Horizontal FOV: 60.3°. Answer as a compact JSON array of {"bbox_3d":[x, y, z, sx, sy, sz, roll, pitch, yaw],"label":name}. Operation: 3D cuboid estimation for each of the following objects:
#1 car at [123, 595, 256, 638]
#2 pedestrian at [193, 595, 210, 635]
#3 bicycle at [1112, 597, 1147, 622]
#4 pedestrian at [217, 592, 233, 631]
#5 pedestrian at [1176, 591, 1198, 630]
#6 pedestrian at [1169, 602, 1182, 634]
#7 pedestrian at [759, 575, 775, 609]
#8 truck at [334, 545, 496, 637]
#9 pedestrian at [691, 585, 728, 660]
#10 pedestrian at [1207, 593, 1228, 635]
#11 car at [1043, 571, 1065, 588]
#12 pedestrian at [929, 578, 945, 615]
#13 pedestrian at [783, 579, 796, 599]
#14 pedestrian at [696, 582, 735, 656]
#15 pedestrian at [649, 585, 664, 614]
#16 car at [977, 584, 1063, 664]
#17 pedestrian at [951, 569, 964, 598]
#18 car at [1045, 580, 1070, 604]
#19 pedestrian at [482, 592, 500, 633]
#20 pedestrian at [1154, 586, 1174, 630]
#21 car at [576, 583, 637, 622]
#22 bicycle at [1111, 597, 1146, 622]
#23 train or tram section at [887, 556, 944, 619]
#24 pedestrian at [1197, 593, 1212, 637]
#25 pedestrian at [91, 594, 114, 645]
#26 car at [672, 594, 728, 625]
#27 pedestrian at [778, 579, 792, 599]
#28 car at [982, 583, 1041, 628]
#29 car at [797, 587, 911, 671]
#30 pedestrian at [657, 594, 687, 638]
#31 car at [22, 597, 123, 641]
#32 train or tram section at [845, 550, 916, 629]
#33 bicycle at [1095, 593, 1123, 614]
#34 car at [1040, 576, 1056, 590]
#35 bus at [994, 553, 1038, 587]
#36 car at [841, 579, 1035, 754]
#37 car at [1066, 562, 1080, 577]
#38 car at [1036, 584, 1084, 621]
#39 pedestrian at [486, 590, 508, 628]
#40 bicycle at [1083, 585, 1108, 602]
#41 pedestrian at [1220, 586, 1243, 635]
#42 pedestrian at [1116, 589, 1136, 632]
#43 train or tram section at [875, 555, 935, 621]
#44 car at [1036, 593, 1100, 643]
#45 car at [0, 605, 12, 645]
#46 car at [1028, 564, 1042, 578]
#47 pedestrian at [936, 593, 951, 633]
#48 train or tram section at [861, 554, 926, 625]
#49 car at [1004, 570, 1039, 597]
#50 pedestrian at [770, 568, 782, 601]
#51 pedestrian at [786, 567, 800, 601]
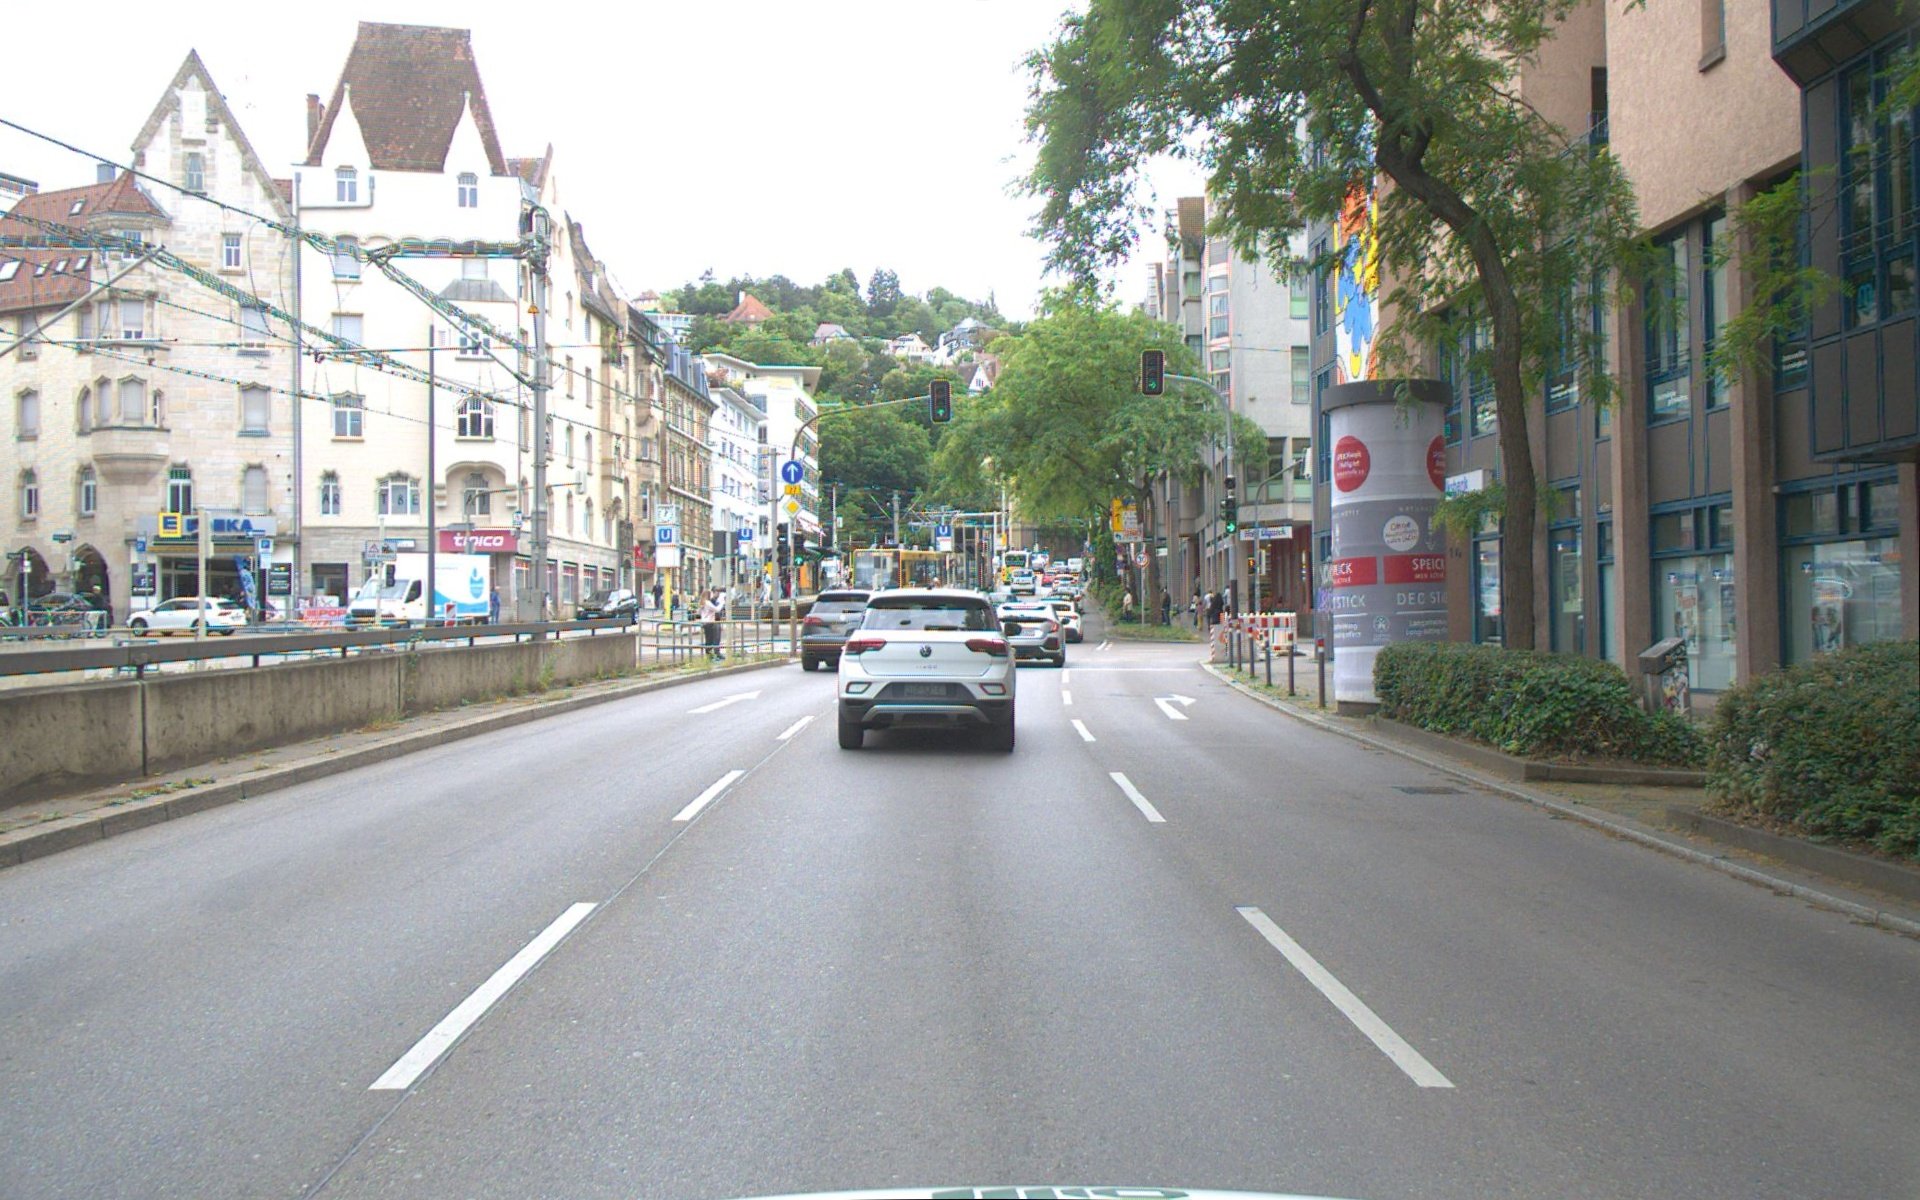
[{"bbox_3d":[-30.002,0.635,64.446,4.403,1.588,1.756,1,0,9],"label":"car"},{"bbox_3d":[-34.743,0.694,75.750,0.503,1.811,0.573,0,0,44],"label":"pedestrian"},{"bbox_3d":[8.544,0.469,83.607,1.674,1.204,0.448,-2,0,-4],"label":"bicycle"},{"bbox_3d":[-33.973,0.541,76.486,0.564,1.811,0.510,0,0,-10],"label":"pedestrian"},{"bbox_3d":[9.484,0.436,69.178,0.818,1.590,0.764,1,-1,-1],"label":"pedestrian"},{"bbox_3d":[9.204,0.751,70.763,0.461,1.357,0.519,1,-1,-1],"label":"pedestrian"},{"bbox_3d":[-9.851,-0.396,84.396,0.673,1.741,0.662,0,0,3],"label":"pedestrian"},{"bbox_3d":[-19.724,-0.272,60.378,2.218,3.130,7.380,1,0,11],"label":"truck"},{"bbox_3d":[-5.914,0.527,39.051,0.748,1.751,0.638,0,0,3],"label":"pedestrian"},{"bbox_3d":[10.484,0.569,67.290,0.746,1.640,0.619,-1,2,15],"label":"pedestrian"},{"bbox_3d":[10.050,-2.207,176.876,1.844,1.713,4.164,1,0,10],"label":"car"},{"bbox_3d":[-1.078,-0.162,76.959,0.671,1.741,0.712,0,0,3],"label":"pedestrian"},{"bbox_3d":[-9.561,-0.629,92.745,0.622,1.127,0.690,0,1,3],"label":"pedestrian"},{"bbox_3d":[-5.871,0.457,39.741,0.775,1.751,0.773,0,0,3],"label":"pedestrian"},{"bbox_3d":[-19.218,-0.034,104.884,0.623,1.793,0.835,0,0,-39],"label":"pedestrian"},{"bbox_3d":[1.410,0.539,38.184,1.845,1.713,4.162,1,0,3],"label":"car"},{"bbox_3d":[-0.146,-0.988,99.311,0.702,1.761,0.671,1,-1,5],"label":"pedestrian"},{"bbox_3d":[7.532,-0.601,127.465,1.845,1.713,4.163,1,0,4],"label":"car"},{"bbox_3d":[-20.467,0.537,72.214,0.499,1.811,0.577,0,0,18],"label":"pedestrian"},{"bbox_3d":[8.828,0.345,71.703,0.706,1.834,0.834,-2,2,-1],"label":"pedestrian"},{"bbox_3d":[-16.946,0.127,79.498,1.638,1.790,4.784,1,0,4],"label":"car"},{"bbox_3d":[8.573,0.465,84.081,1.674,1.204,0.448,-2,0,-4],"label":"bicycle"},{"bbox_3d":[-2.622,-0.755,99.127,2.775,3.582,5.755,1,1,4],"label":"train or tram section"},{"bbox_3d":[10.217,0.614,69.102,0.508,1.820,0.764,1,-1,0],"label":"pedestrian"},{"bbox_3d":[-31.005,0.703,59.803,0.499,1.811,0.577,0,0,16],"label":"pedestrian"},{"bbox_3d":[-13.557,0.481,86.502,1.621,1.579,4.539,0,0,9],"label":"car"},{"bbox_3d":[-9.685,-0.612,91.535,0.622,1.127,0.690,0,1,3],"label":"pedestrian"},{"bbox_3d":[2.468,0.258,78.428,2.314,2.049,5.152,1,0,7],"label":"car"},{"bbox_3d":[-2.164,0.592,34.918,1.952,1.664,4.001,0,0,3],"label":"car"},{"bbox_3d":[-11.512,0.646,66.047,0.859,1.735,0.810,0,0,33],"label":"pedestrian"},{"bbox_3d":[-37.344,0.787,69.609,3.691,1.713,1.638,-2,0,18],"label":"car"},{"bbox_3d":[-3.868,-0.538,81.857,2.775,3.743,5.755,1,1,4],"label":"train or tram section"},{"bbox_3d":[8.918,0.213,98.918,1.585,1.147,0.614,-2,0,7],"label":"bicycle"},{"bbox_3d":[8.464,-1.630,158.928,1.549,1.193,3.680,1,0,3],"label":"car"},{"bbox_3d":[5.764,-2.988,167.554,3.300,3.118,13.334,1,0,7],"label":"bus"},{"bbox_3d":[-0.303,0.636,17.550,1.801,1.611,4.154,1,0,-3],"label":"car"},{"bbox_3d":[13.245,-3.587,193.961,1.638,1.588,3.680,1,0,3],"label":"car"},{"bbox_3d":[5.765,0.174,95.652,2.317,2.049,5.146,1,0,-1],"label":"car"},{"bbox_3d":[-20.699,0.399,73.959,0.659,1.706,0.691,0,0,21],"label":"pedestrian"},{"bbox_3d":[10.723,-0.518,130.857,1.841,1.288,0.765,1,-1,14],"label":"bicycle"},{"bbox_3d":[11.408,0.432,69.594,0.818,2.049,0.764,1,-1,-1],"label":"pedestrian"},{"bbox_3d":[7.328,0.459,73.055,0.679,1.808,0.689,-5,0,-1],"label":"pedestrian"},{"bbox_3d":[-3.056,-0.673,93.357,2.775,3.582,5.755,1,1,4],"label":"train or tram section"},{"bbox_3d":[3.880,0.645,60.076,1.847,1.713,4.158,1,0,-3],"label":"car"},{"bbox_3d":[-39.882,0.945,65.112,4.403,1.588,1.756,1,0,13],"label":"car"},{"bbox_3d":[9.277,-3.608,203.523,1.638,1.588,3.988,1,0,3],"label":"car"},{"bbox_3d":[-0.713,0.565,72.251,0.622,1.741,0.872,0,0,3],"label":"pedestrian"},{"bbox_3d":[-3.465,-0.577,87.613,2.775,3.582,5.755,1,1,4],"label":"train or tram section"},{"bbox_3d":[4.899,-1.298,131.419,2.314,2.049,5.152,1,0,7],"label":"car"},{"bbox_3d":[-9.835,-0.837,88.269,0.623,1.741,0.689,0,0,-5],"label":"pedestrian"},{"bbox_3d":[-8.894,-0.836,88.233,0.613,1.793,0.847,0,0,5],"label":"pedestrian"}]
